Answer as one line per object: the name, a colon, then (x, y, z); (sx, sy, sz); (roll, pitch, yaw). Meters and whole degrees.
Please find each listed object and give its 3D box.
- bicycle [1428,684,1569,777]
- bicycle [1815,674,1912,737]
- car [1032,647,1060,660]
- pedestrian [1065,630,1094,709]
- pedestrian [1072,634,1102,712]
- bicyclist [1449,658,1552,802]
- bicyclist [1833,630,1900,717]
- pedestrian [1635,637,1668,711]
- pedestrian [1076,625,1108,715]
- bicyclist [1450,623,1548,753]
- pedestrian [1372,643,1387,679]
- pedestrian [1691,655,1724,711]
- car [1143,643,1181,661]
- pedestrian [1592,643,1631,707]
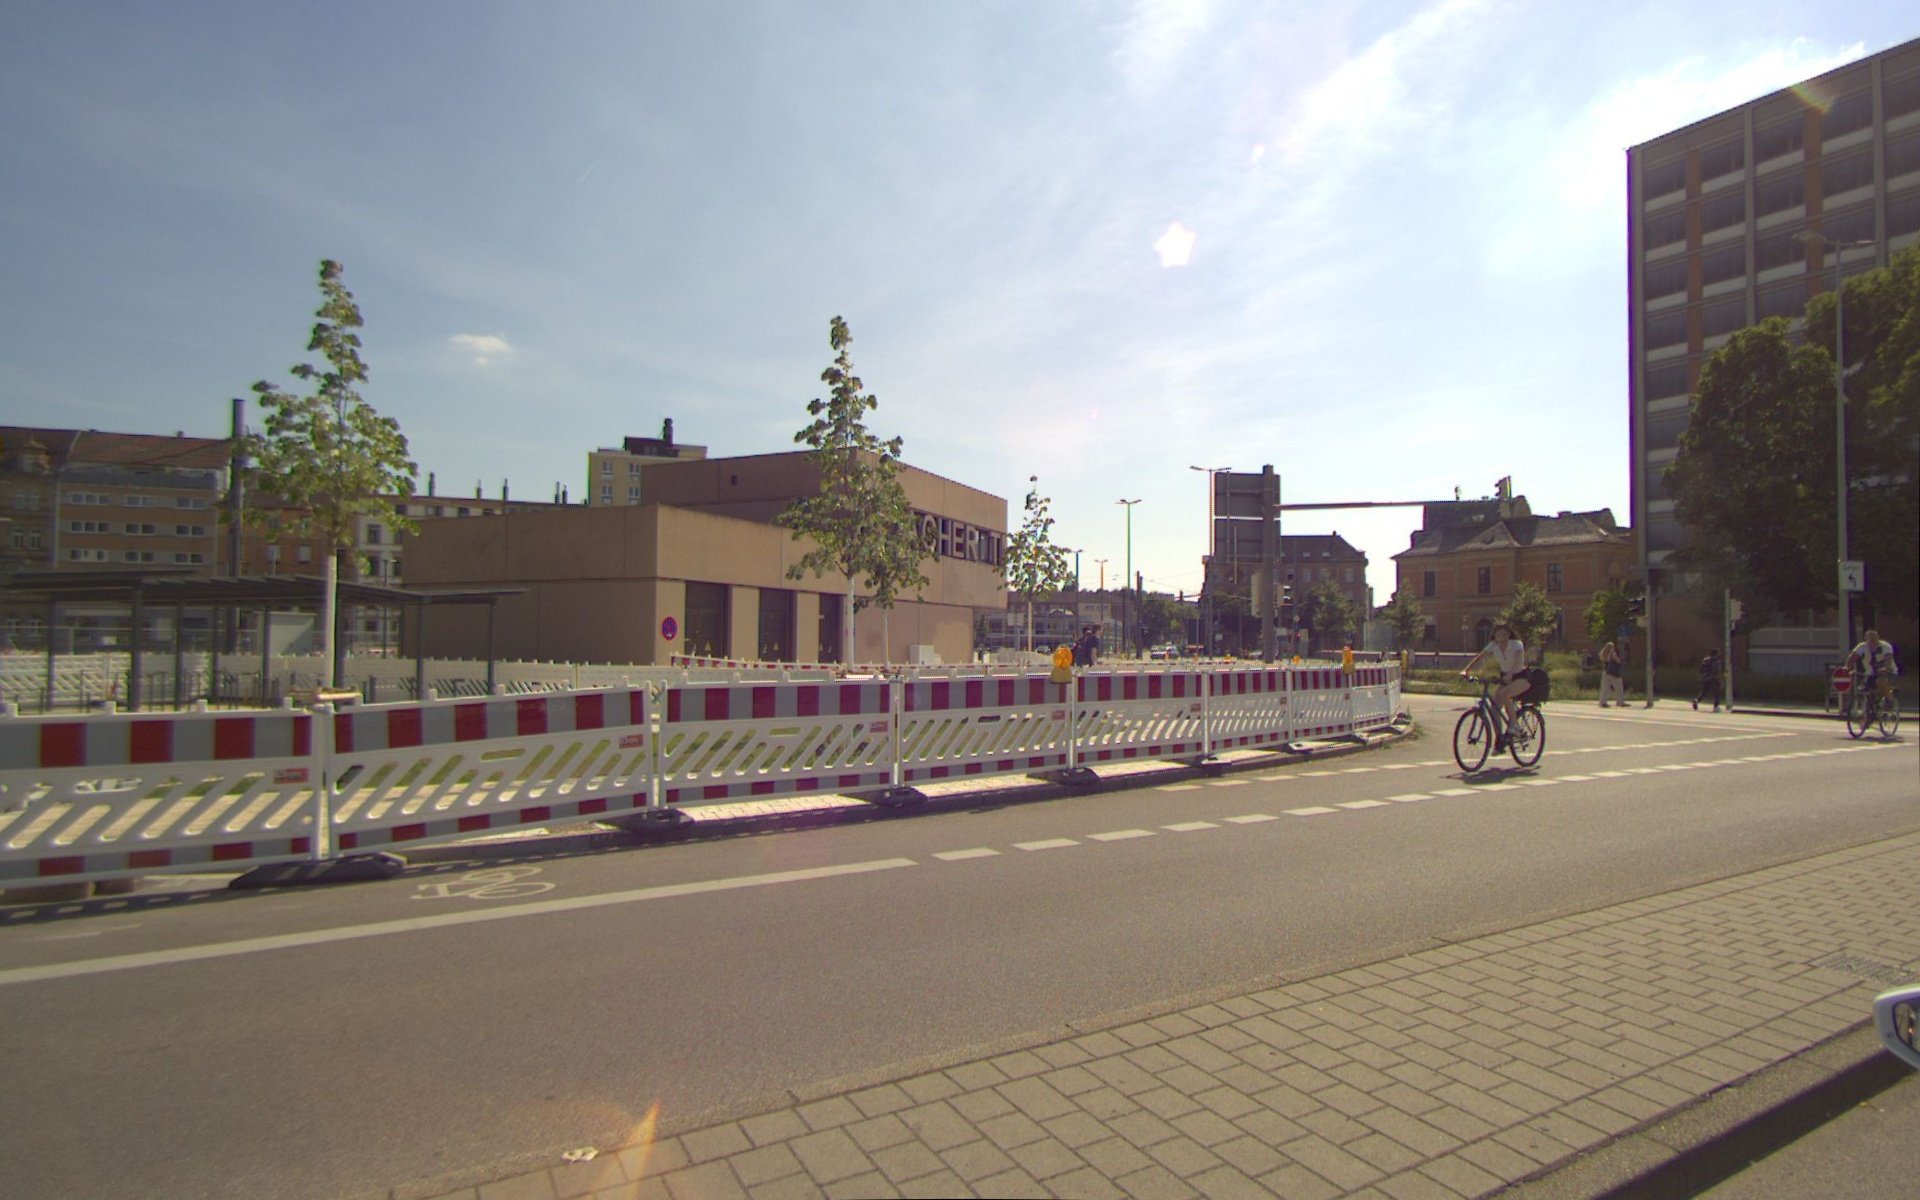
bicycle: (6.354, 1.497, 11.810); (1.948, 0.973, 0.615); (2, -5, -35)
bicycle: (15.339, 1.773, 17.047); (2.009, 0.990, 0.700); (4, -4, -32)
car: (11.864, 7.392, 138.709); (3.973, 1.739, 1.630); (3, -4, -44)
pedestrian: (2.754, 1.605, 23.179); (0.559, 1.801, 0.544); (1, -2, -9)
pedestrian: (2.847, 1.623, 22.539); (0.559, 1.731, 0.539); (1, -2, -9)
bicyclist: (6.354, 1.497, 11.810); (1.004, 1.602, 0.615); (2, -5, -35)
bicyclist: (15.315, 1.239, 16.966); (1.019, 1.435, 0.536); (3, -4, -32)
pedestrian: (19.777, 2.101, 28.730); (0.604, 2.040, 0.687); (2, -1, 23)
pedestrian: (2.880, 1.525, 21.901); (0.595, 1.940, 0.441); (1, -2, -9)
bicyclist: (6.348, 1.025, 11.841); (0.911, 1.462, 0.615); (2, -5, -35)
pedestrian: (24.212, 3.506, 57.978); (0.517, 2.040, 0.622); (2, -3, -34)
pedestrian: (20.448, 2.254, 27.482); (0.624, 1.511, 0.613); (-2, -3, 44)
car: (23.336, 5.989, 116.009); (3.953, 2.040, 1.985); (2, -3, -30)
pedestrian: (18.422, 2.114, 28.400); (0.728, 1.775, 1.104); (-2, -5, 44)
